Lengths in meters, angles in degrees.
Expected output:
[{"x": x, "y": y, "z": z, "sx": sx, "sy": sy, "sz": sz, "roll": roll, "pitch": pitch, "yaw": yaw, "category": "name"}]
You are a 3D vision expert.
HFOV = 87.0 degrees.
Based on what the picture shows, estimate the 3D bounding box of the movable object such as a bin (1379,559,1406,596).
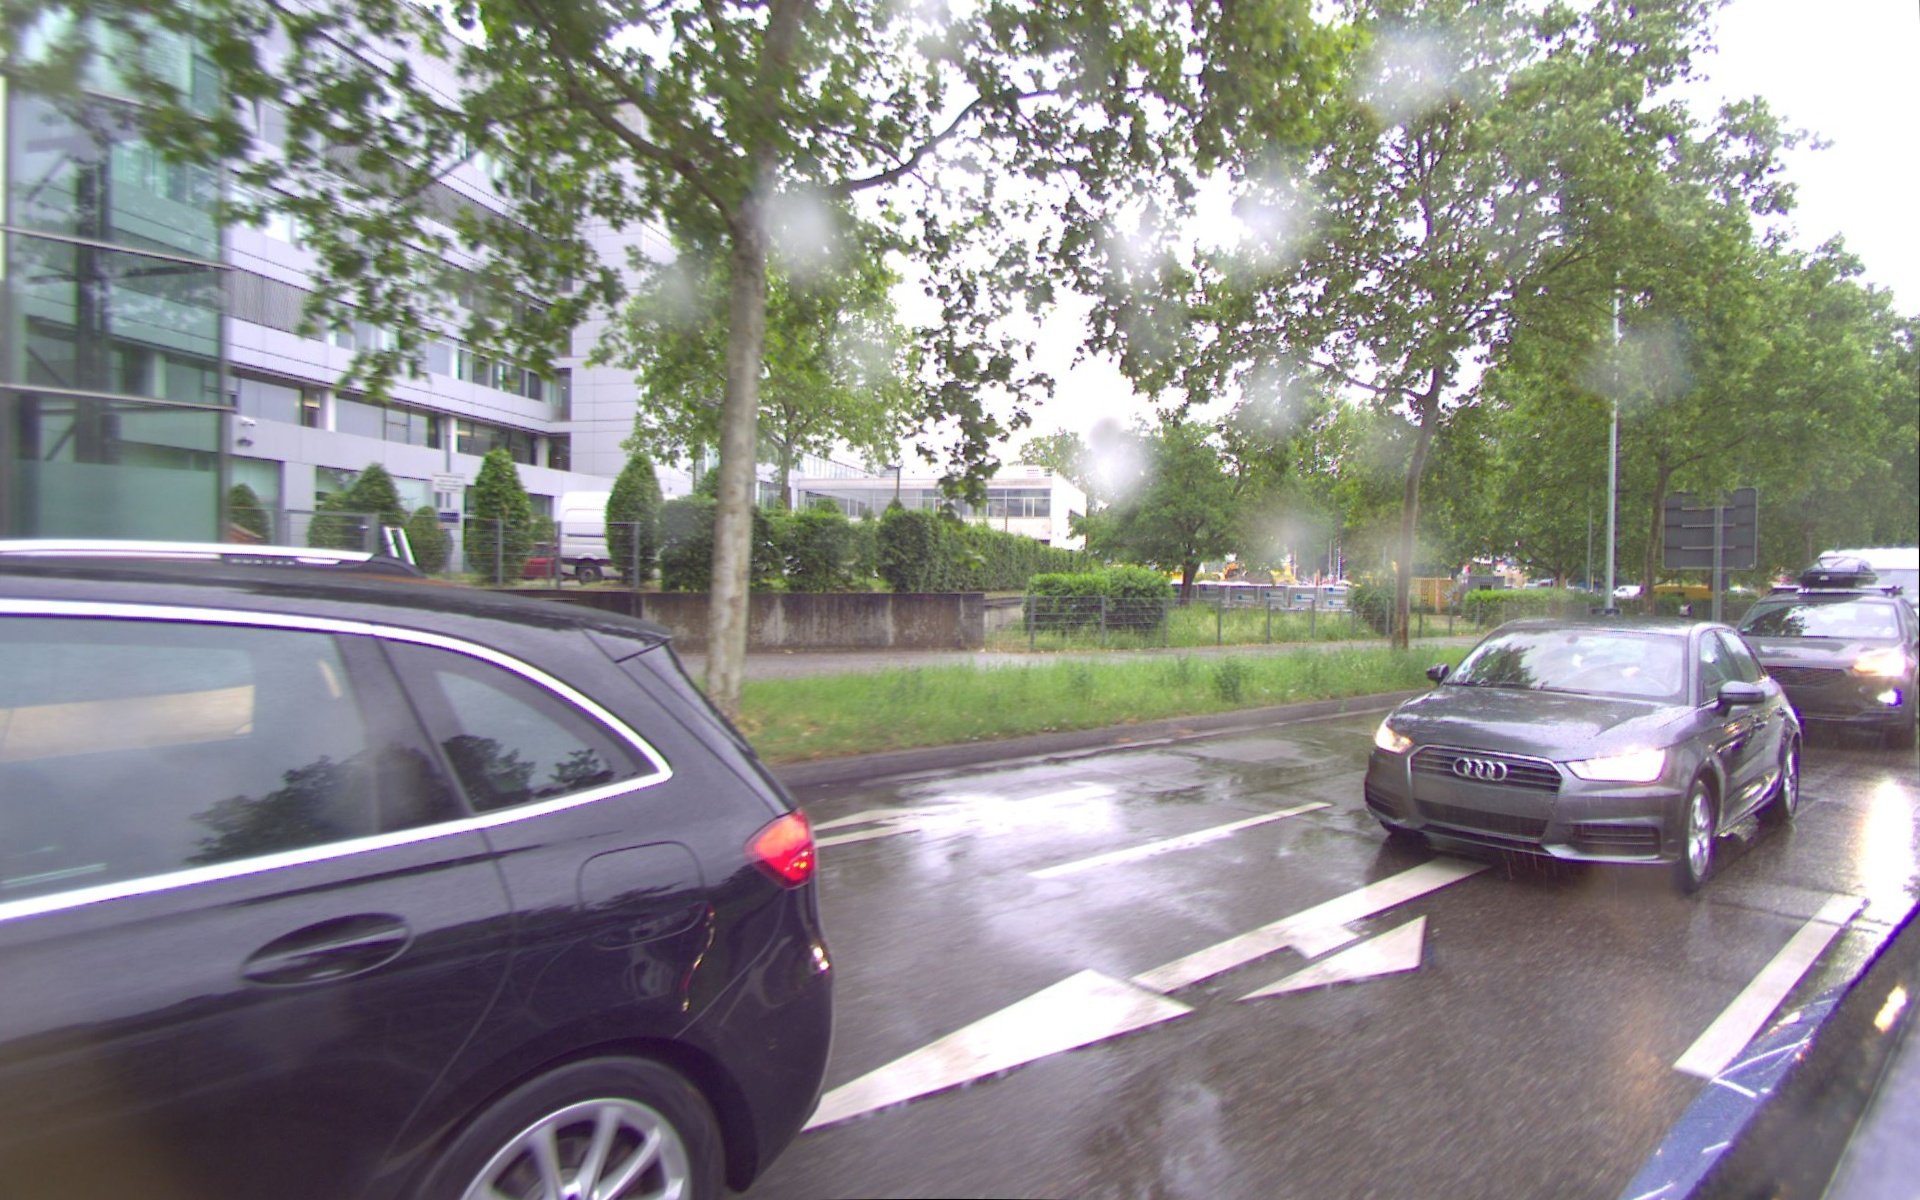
[{"x": 41.619, "y": -2.120, "z": 97.273, "sx": 1.901, "sy": 3.478, "sz": 4.889, "roll": -1, "pitch": 0, "yaw": 29, "category": "movable object such as a bin"}]

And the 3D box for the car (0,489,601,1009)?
[{"x": -3.731, "y": 0.498, "z": 3.945, "sx": 4.074, "sy": 1.707, "sz": 1.677, "roll": 1, "pitch": -2, "yaw": -41, "category": "car"}]

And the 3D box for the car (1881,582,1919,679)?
[{"x": 20.992, "y": 0.613, "z": 21.410, "sx": 4.469, "sy": 1.937, "sz": 1.805, "roll": 0, "pitch": 1, "yaw": -42, "category": "car"}]

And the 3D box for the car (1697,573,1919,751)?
[{"x": 10.300, "y": 0.581, "z": 11.893, "sx": 4.350, "sy": 1.719, "sz": 1.891, "roll": 0, "pitch": 1, "yaw": -44, "category": "car"}]

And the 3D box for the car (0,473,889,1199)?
[{"x": -2.224, "y": 0.622, "z": 1.514, "sx": 4.020, "sy": 1.574, "sz": 1.750, "roll": 0, "pitch": 0, "yaw": -42, "category": "car"}]

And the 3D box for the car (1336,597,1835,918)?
[{"x": 4.137, "y": 0.715, "z": 6.464, "sx": 3.715, "sy": 1.446, "sz": 1.679, "roll": 0, "pitch": 0, "yaw": -41, "category": "car"}]

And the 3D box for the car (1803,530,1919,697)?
[{"x": 15.934, "y": 0.198, "z": 17.098, "sx": 5.227, "sy": 2.477, "sz": 1.892, "roll": 0, "pitch": 1, "yaw": -42, "category": "car"}]

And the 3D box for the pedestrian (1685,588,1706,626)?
[{"x": 34.379, "y": 0.309, "z": 47.281, "sx": 0.645, "sy": 1.738, "sz": 0.645, "roll": 0, "pitch": 0, "yaw": -40, "category": "pedestrian"}]
